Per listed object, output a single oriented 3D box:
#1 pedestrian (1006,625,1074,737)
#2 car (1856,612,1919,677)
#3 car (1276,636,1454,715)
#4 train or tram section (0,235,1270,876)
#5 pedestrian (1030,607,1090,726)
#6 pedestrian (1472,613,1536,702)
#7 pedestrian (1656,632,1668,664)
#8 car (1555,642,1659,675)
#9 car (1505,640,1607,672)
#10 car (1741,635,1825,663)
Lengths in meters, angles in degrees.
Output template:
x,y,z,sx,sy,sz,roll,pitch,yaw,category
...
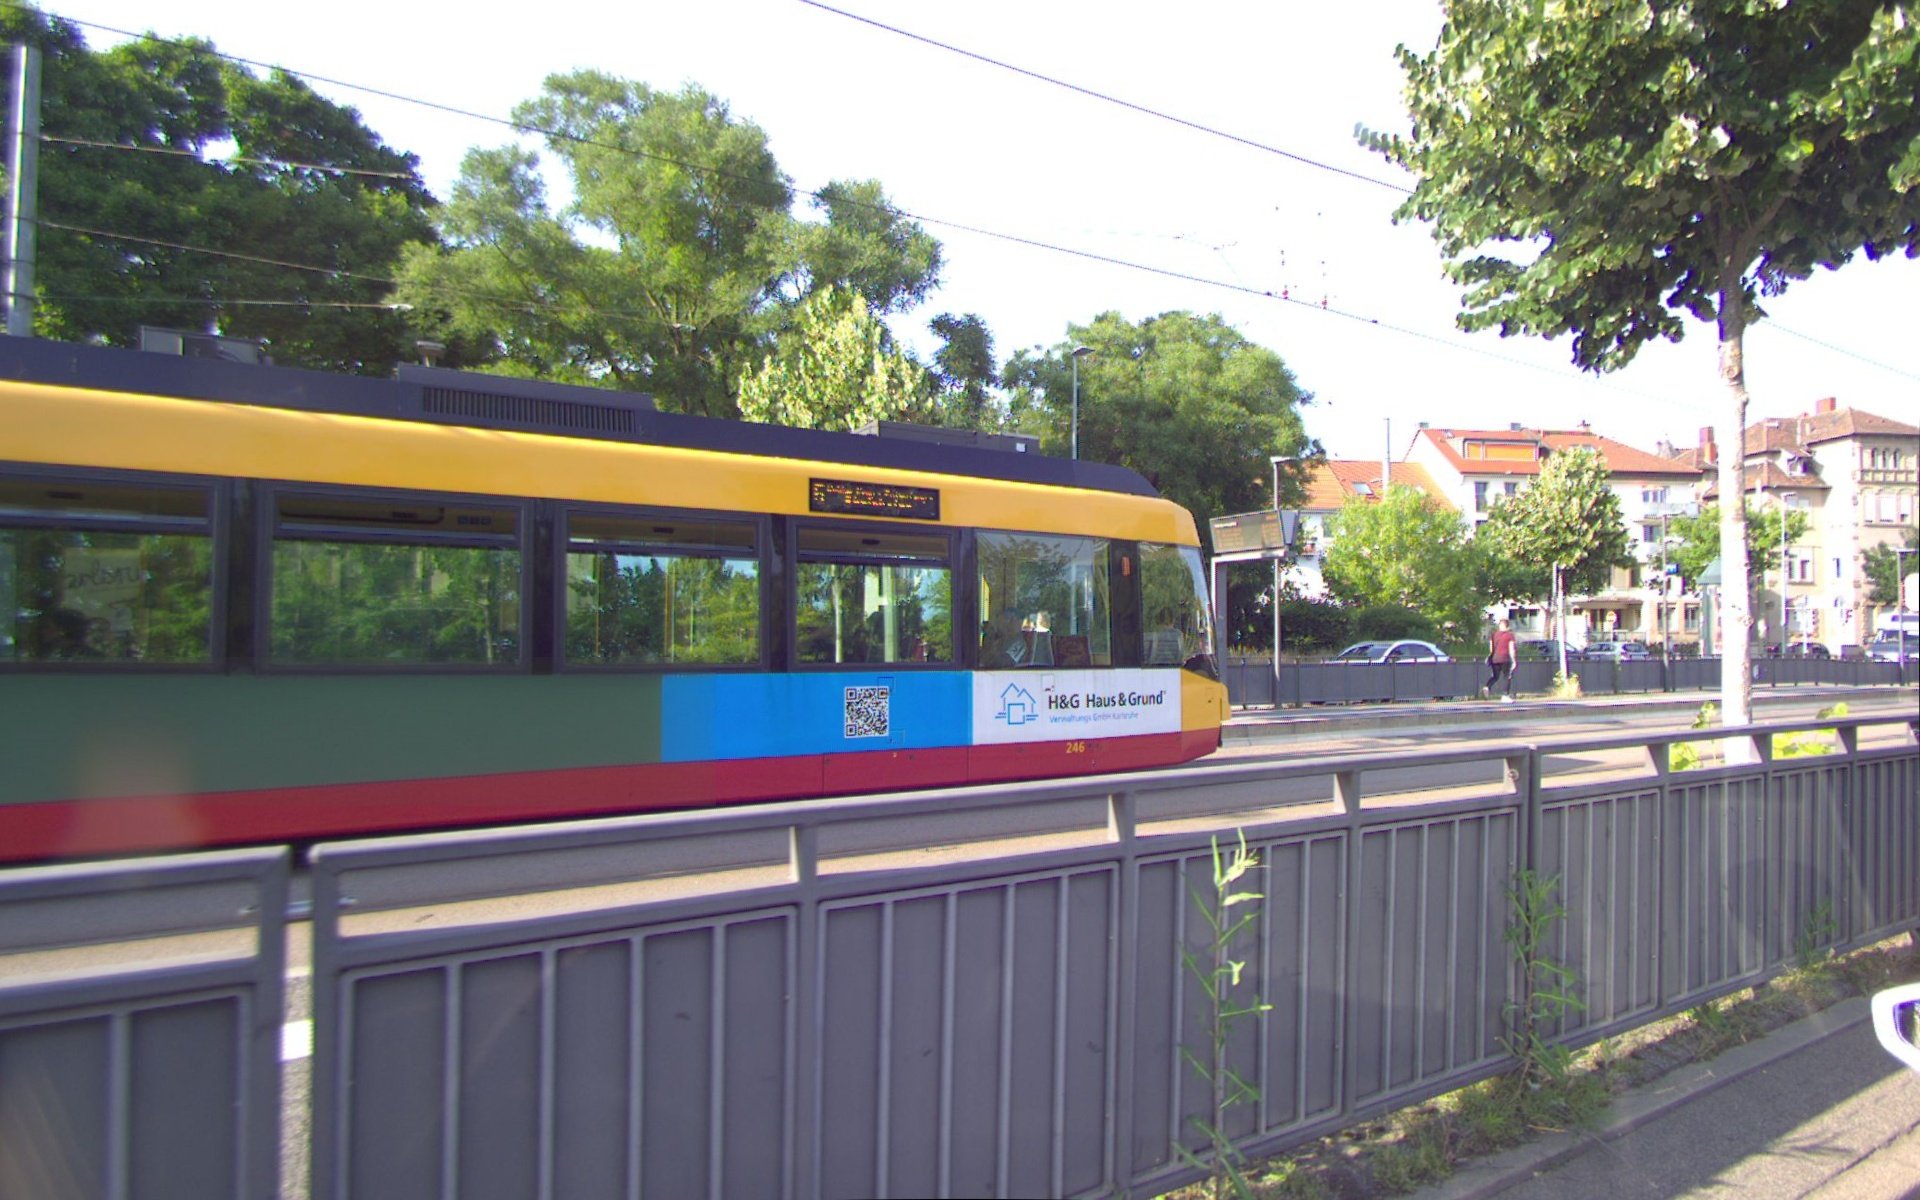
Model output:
x,y,z,sx,sy,sz,roll,pitch,yaw,category
1.233,1.223,15.526,0.656,1.663,0.859,0,-1,44,pedestrian
44.011,1.991,45.801,7.381,2.771,2.584,1,-1,-31,car
9.688,1.725,23.983,3.954,1.706,1.984,1,-1,-31,car
-3.634,-0.174,8.336,14.303,3.525,3.146,1,-1,-31,train or tram section
1.437,0.955,14.507,0.601,1.663,0.578,1,-3,-34,pedestrian
11.029,1.150,20.375,0.763,1.756,0.832,1,-2,-29,pedestrian
45.394,3.116,64.939,0.426,2.040,0.421,1,-1,-11,pedestrian
31.287,2.794,48.700,1.966,1.416,3.988,1,-1,-15,car
28.509,2.646,48.205,1.966,1.416,3.989,1,-1,-14,car
54.997,3.265,67.199,1.965,1.773,3.992,1,-1,-12,car
